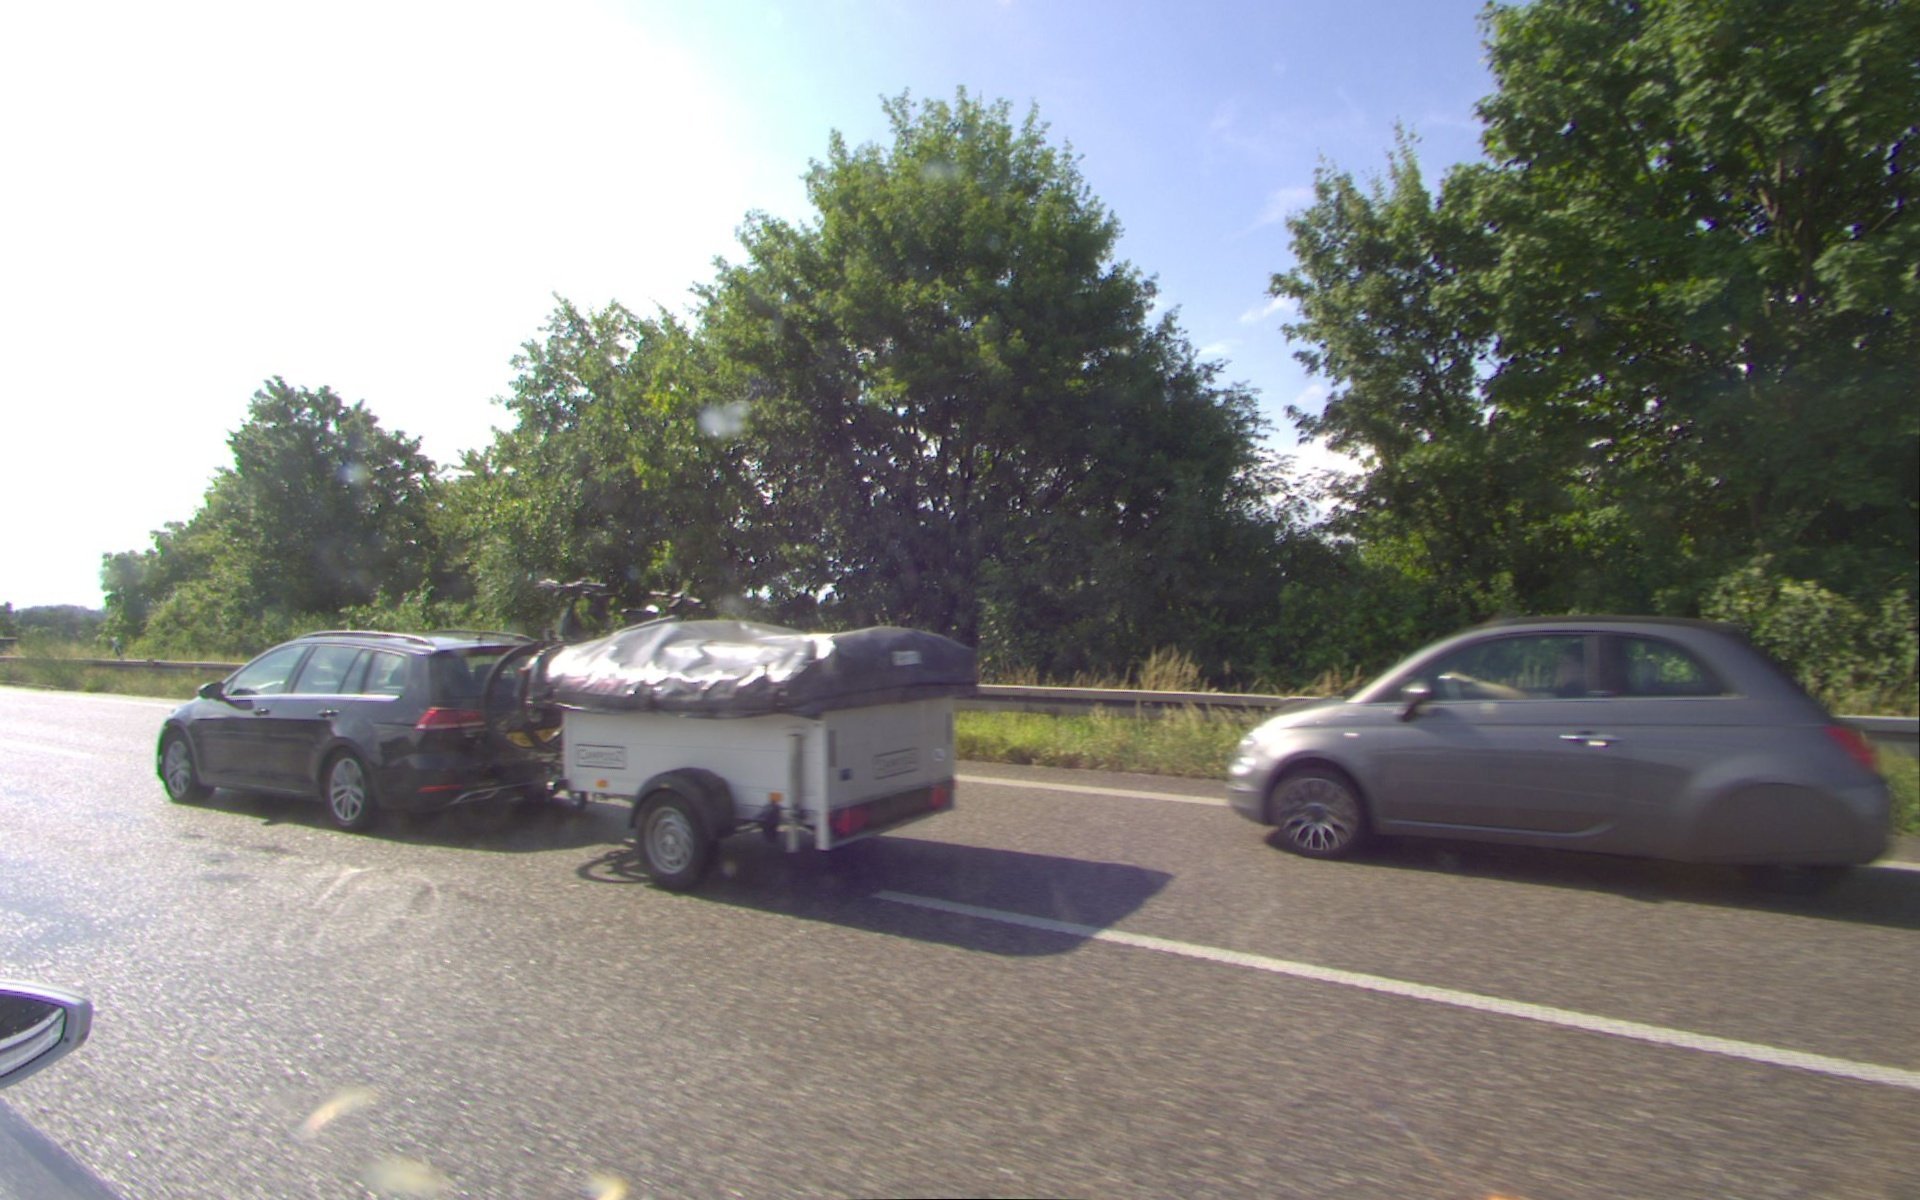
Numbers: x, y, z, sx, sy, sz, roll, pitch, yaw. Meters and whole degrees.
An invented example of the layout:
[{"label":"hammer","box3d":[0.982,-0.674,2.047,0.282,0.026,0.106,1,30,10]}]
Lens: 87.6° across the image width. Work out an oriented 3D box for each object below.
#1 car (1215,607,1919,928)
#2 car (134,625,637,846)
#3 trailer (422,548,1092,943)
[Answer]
[{"label":"car","box3d":[3.530,0.829,6.282,3.431,1.508,1.609,-1,-1,32]},{"label":"car","box3d":[-4.919,0.939,8.435,4.338,1.449,1.741,-1,-1,30]},{"label":"trailer","box3d":[-1.333,0.699,6.261,3.908,1.768,1.804,-1,-1,30]}]
